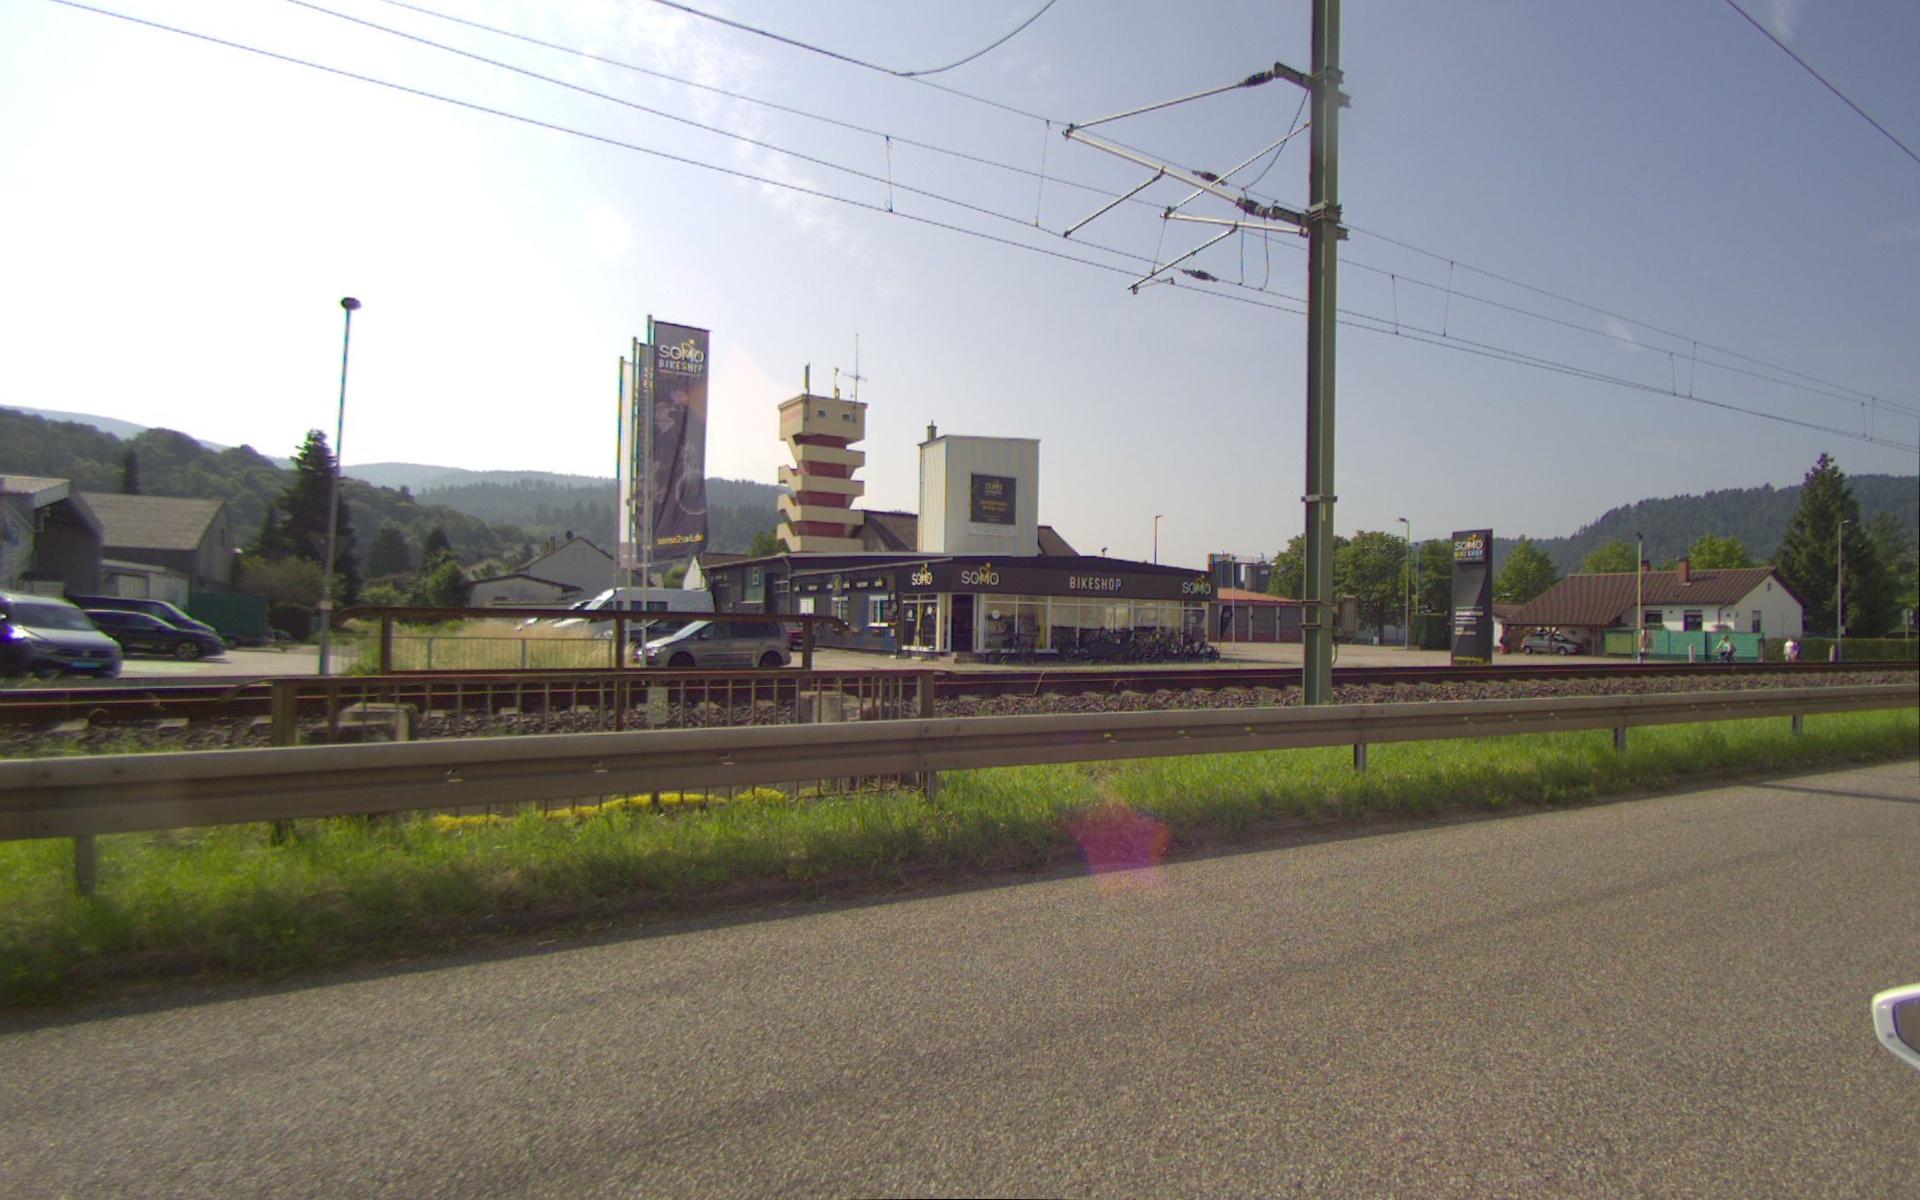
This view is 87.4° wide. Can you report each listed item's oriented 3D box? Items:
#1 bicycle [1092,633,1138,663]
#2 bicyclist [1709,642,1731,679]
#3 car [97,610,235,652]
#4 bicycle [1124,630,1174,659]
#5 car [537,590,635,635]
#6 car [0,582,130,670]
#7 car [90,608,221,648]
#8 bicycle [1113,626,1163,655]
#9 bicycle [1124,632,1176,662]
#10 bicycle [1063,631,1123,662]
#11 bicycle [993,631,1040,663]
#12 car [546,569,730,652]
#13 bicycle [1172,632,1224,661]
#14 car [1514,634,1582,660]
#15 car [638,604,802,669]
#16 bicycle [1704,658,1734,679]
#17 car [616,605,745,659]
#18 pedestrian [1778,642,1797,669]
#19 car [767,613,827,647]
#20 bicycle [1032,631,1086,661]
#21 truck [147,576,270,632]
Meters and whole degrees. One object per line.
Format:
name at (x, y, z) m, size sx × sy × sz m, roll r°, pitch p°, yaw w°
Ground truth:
bicycle at (6.462, 1.998, 41.983) m, size 0.722 × 1.145 × 2.157 m, roll 2°, pitch -2°, yaw -30°
bicyclist at (34.885, 2.780, 46.101) m, size 0.823 × 1.668 × 0.529 m, roll 2°, pitch -1°, yaw -32°
car at (-25.886, 1.009, 32.854) m, size 3.457 × 1.285 × 1.441 m, roll 2°, pitch -1°, yaw -39°
bicycle at (8.129, 1.915, 43.245) m, size 0.724 × 1.145 × 2.149 m, roll 3°, pitch -2°, yaw -39°
car at (-20.303, 0.702, 54.608) m, size 4.707 × 2.240 × 1.984 m, roll 3°, pitch -2°, yaw -30°
car at (-20.770, 0.534, 22.659) m, size 3.924 × 1.550 × 1.522 m, roll 6°, pitch 1°, yaw 24°
car at (-27.883, 0.990, 34.914) m, size 3.457 × 1.315 × 1.441 m, roll 2°, pitch -1°, yaw -39°
bicycle at (7.566, 1.732, 42.740) m, size 0.724 × 1.145 × 2.149 m, roll 3°, pitch -2°, yaw -39°
bicycle at (7.761, 1.914, 40.959) m, size 2.150 × 1.145 × 0.724 m, roll 3°, pitch -2°, yaw -32°
bicycle at (5.212, 1.817, 39.504) m, size 2.275 × 1.145 × 0.730 m, roll 2°, pitch -1°, yaw 4°
bicycle at (2.194, 1.834, 39.253) m, size 0.722 × 1.145 × 2.157 m, roll 2°, pitch -2°, yaw -30°
car at (-12.002, 0.465, 37.637) m, size 6.096 × 2.667 × 2.359 m, roll 4°, pitch -2°, yaw -33°
bicycle at (10.207, 1.987, 43.170) m, size 0.724 × 1.145 × 2.149 m, roll 3°, pitch -2°, yaw -39°
car at (40.990, 3.289, 70.075) m, size 1.691 × 1.673 × 3.822 m, roll 2°, pitch -1°, yaw -27°
car at (-6.882, 1.080, 28.977) m, size 4.325 × 1.711 × 1.509 m, roll 3°, pitch 0°, yaw -34°
bicycle at (34.823, 3.143, 46.056) m, size 1.691 × 0.935 × 0.542 m, roll 2°, pitch -1°, yaw -32°
car at (-9.837, 1.126, 35.423) m, size 3.959 × 1.685 × 1.856 m, roll 4°, pitch -2°, yaw -33°
pedestrian at (42.966, 2.890, 52.159) m, size 0.667 × 1.349 × 0.569 m, roll 2°, pitch -1°, yaw -35°
car at (-8.331, 1.489, 51.170) m, size 1.727 × 1.622 × 3.969 m, roll 2°, pitch -1°, yaw -29°
bicycle at (4.046, 1.881, 40.934) m, size 2.148 × 1.145 × 0.725 m, roll 3°, pitch -1°, yaw -29°
truck at (-36.698, 0.241, 49.242) m, size 4.596 × 2.456 × 1.981 m, roll 4°, pitch -2°, yaw -34°
